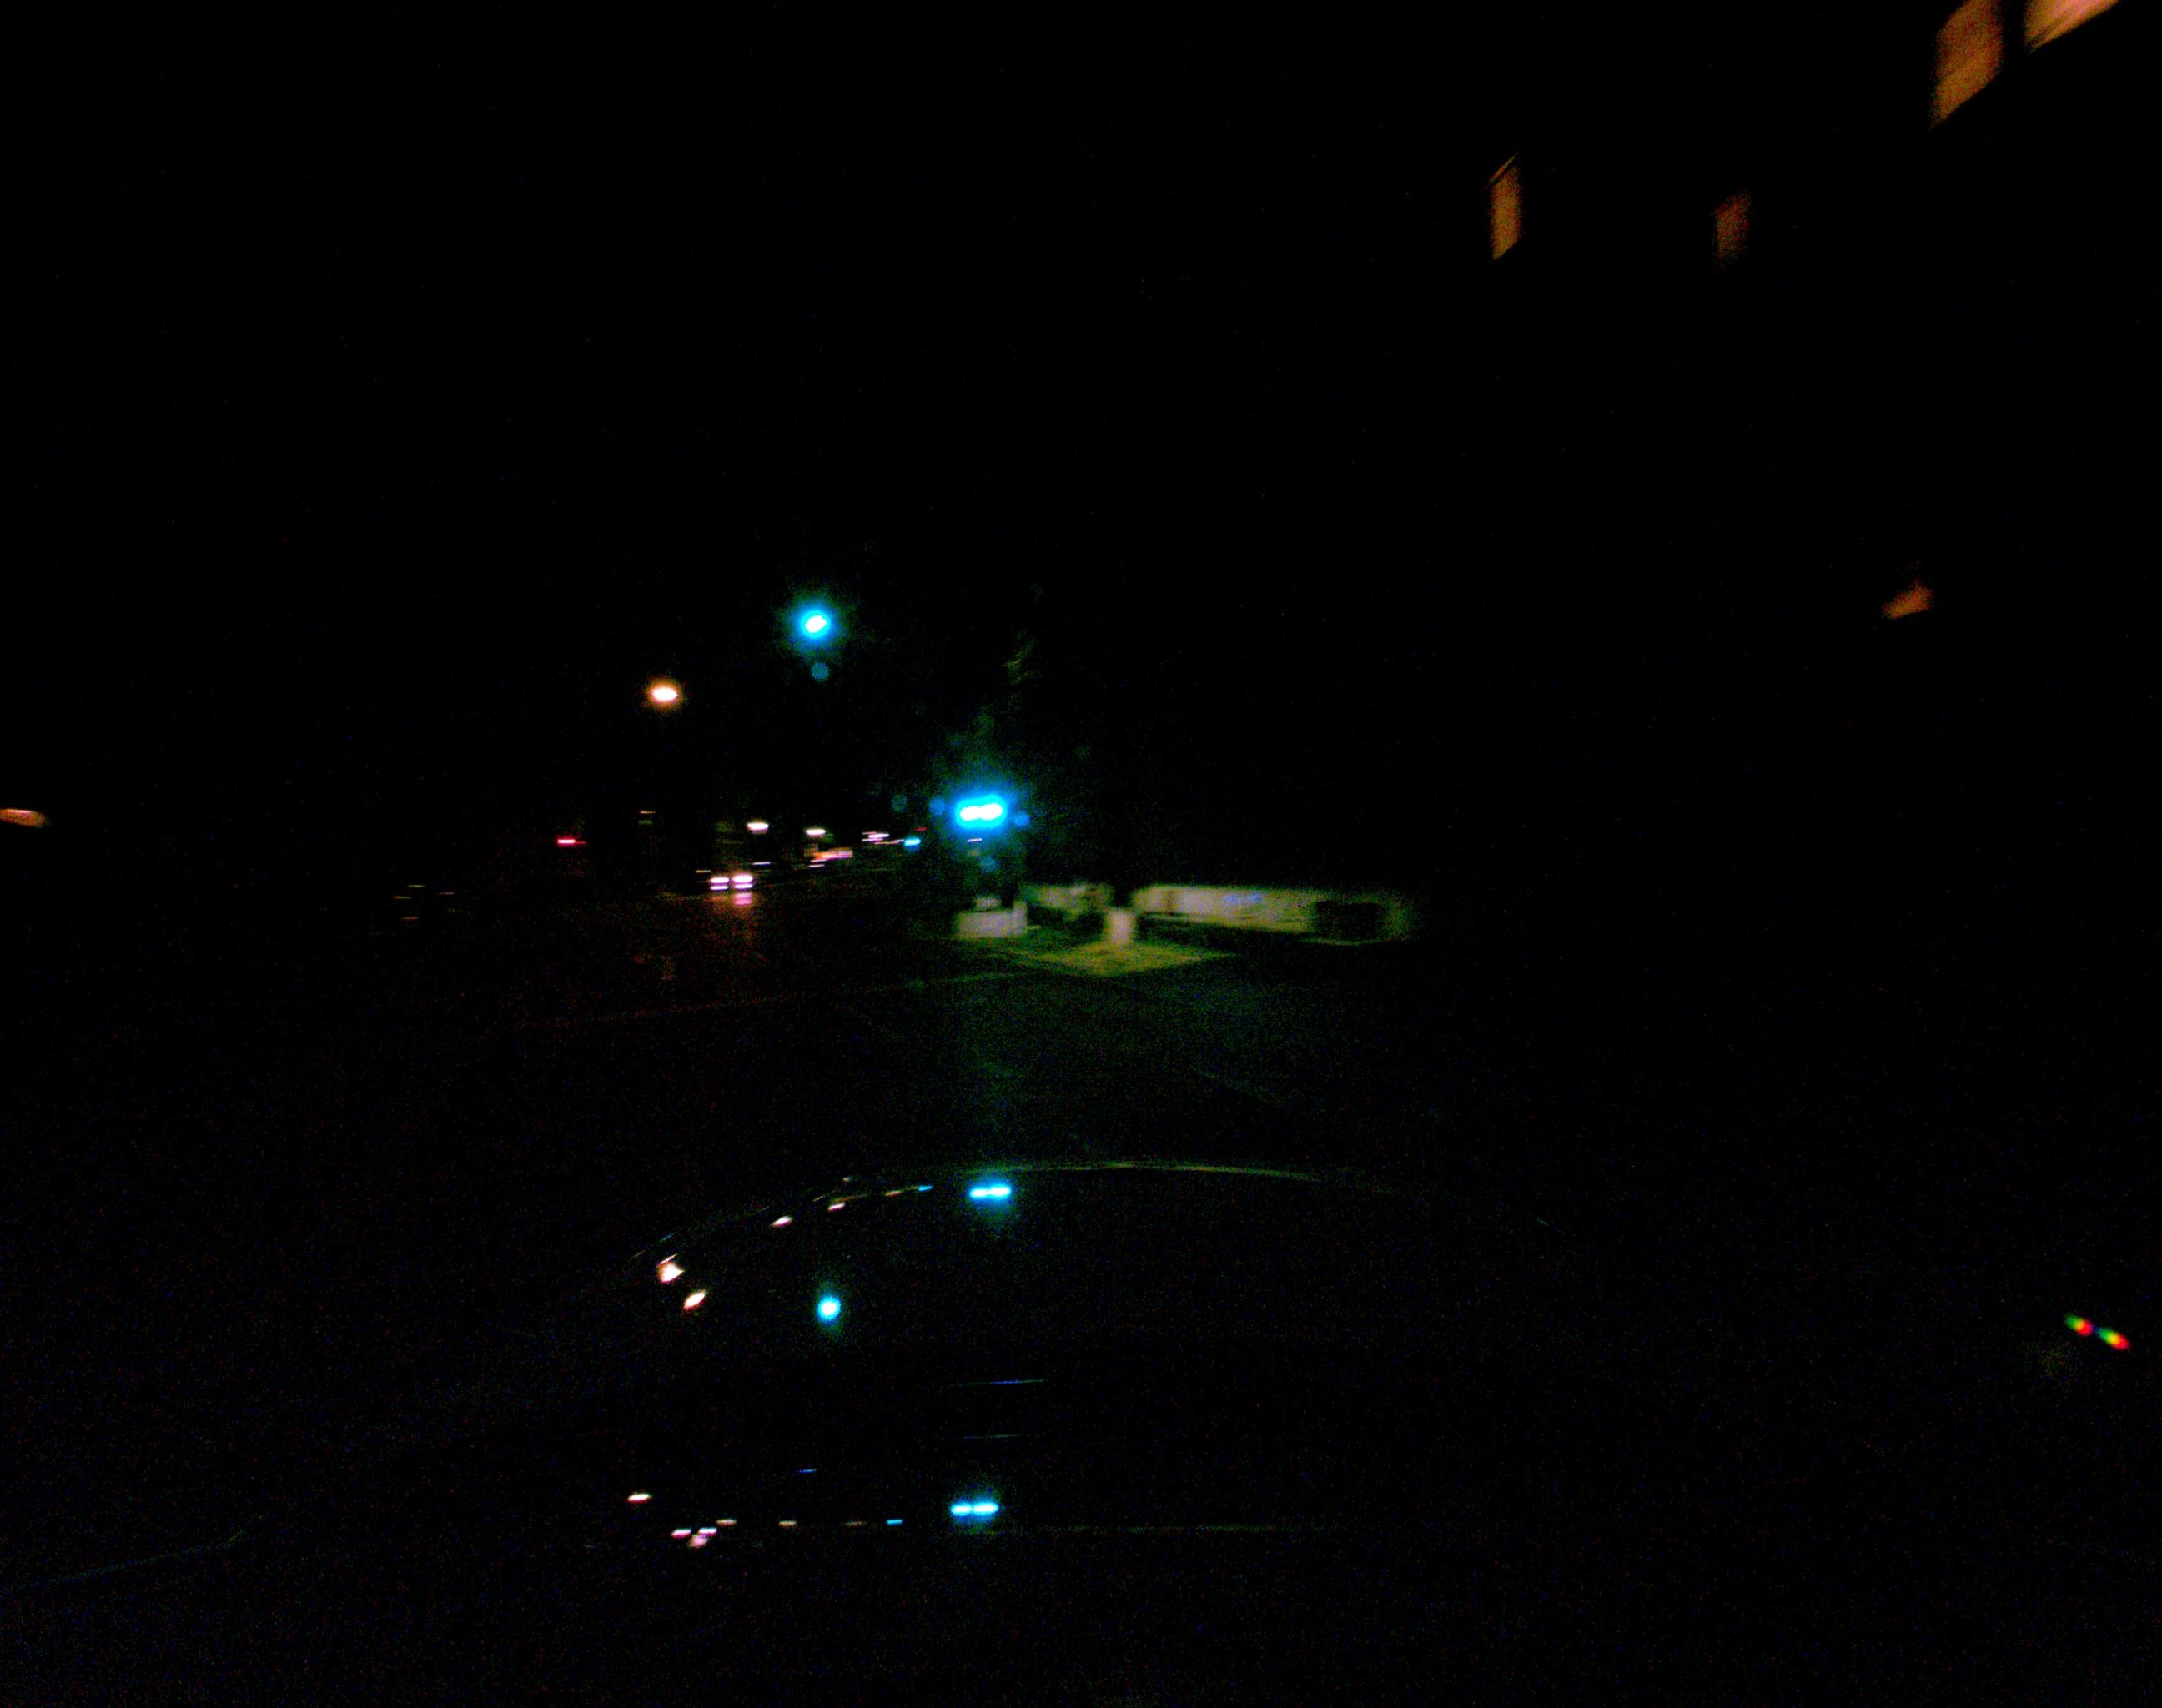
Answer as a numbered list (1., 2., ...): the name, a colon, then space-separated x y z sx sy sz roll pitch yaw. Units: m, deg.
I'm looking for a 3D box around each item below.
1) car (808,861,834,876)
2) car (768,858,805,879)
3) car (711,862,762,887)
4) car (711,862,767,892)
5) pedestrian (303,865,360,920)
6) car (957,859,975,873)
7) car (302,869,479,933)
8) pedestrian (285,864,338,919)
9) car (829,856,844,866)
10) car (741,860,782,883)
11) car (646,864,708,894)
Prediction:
1. car: -25.351 1.400 79.476 1.783 1.415 4.115 0 0 -8
2. car: -24.127 1.182 66.859 1.782 1.582 4.403 1 0 -5
3. car: -22.643 1.294 53.692 1.781 1.491 4.322 1 0 -5
4. car: -18.815 1.237 44.984 1.713 1.429 3.991 -3 0 -6
5. pedestrian: -24.039 1.207 26.154 0.706 1.690 1.125 -2 0 4
6. car: -12.761 1.348 90.093 1.734 1.459 4.710 -1 0 -11
7. car: -19.626 1.272 23.418 1.883 1.596 4.017 0 0 -5
8. pedestrian: -24.997 1.202 26.466 0.706 1.690 0.999 -2 0 4
9. car: -41.805 1.166 139.162 1.994 1.574 4.313 -1 0 -11
10. car: -23.096 1.237 58.986 1.783 1.491 3.989 1 0 -8
11. car: -21.837 1.314 44.172 1.588 1.491 3.696 1 0 -2
